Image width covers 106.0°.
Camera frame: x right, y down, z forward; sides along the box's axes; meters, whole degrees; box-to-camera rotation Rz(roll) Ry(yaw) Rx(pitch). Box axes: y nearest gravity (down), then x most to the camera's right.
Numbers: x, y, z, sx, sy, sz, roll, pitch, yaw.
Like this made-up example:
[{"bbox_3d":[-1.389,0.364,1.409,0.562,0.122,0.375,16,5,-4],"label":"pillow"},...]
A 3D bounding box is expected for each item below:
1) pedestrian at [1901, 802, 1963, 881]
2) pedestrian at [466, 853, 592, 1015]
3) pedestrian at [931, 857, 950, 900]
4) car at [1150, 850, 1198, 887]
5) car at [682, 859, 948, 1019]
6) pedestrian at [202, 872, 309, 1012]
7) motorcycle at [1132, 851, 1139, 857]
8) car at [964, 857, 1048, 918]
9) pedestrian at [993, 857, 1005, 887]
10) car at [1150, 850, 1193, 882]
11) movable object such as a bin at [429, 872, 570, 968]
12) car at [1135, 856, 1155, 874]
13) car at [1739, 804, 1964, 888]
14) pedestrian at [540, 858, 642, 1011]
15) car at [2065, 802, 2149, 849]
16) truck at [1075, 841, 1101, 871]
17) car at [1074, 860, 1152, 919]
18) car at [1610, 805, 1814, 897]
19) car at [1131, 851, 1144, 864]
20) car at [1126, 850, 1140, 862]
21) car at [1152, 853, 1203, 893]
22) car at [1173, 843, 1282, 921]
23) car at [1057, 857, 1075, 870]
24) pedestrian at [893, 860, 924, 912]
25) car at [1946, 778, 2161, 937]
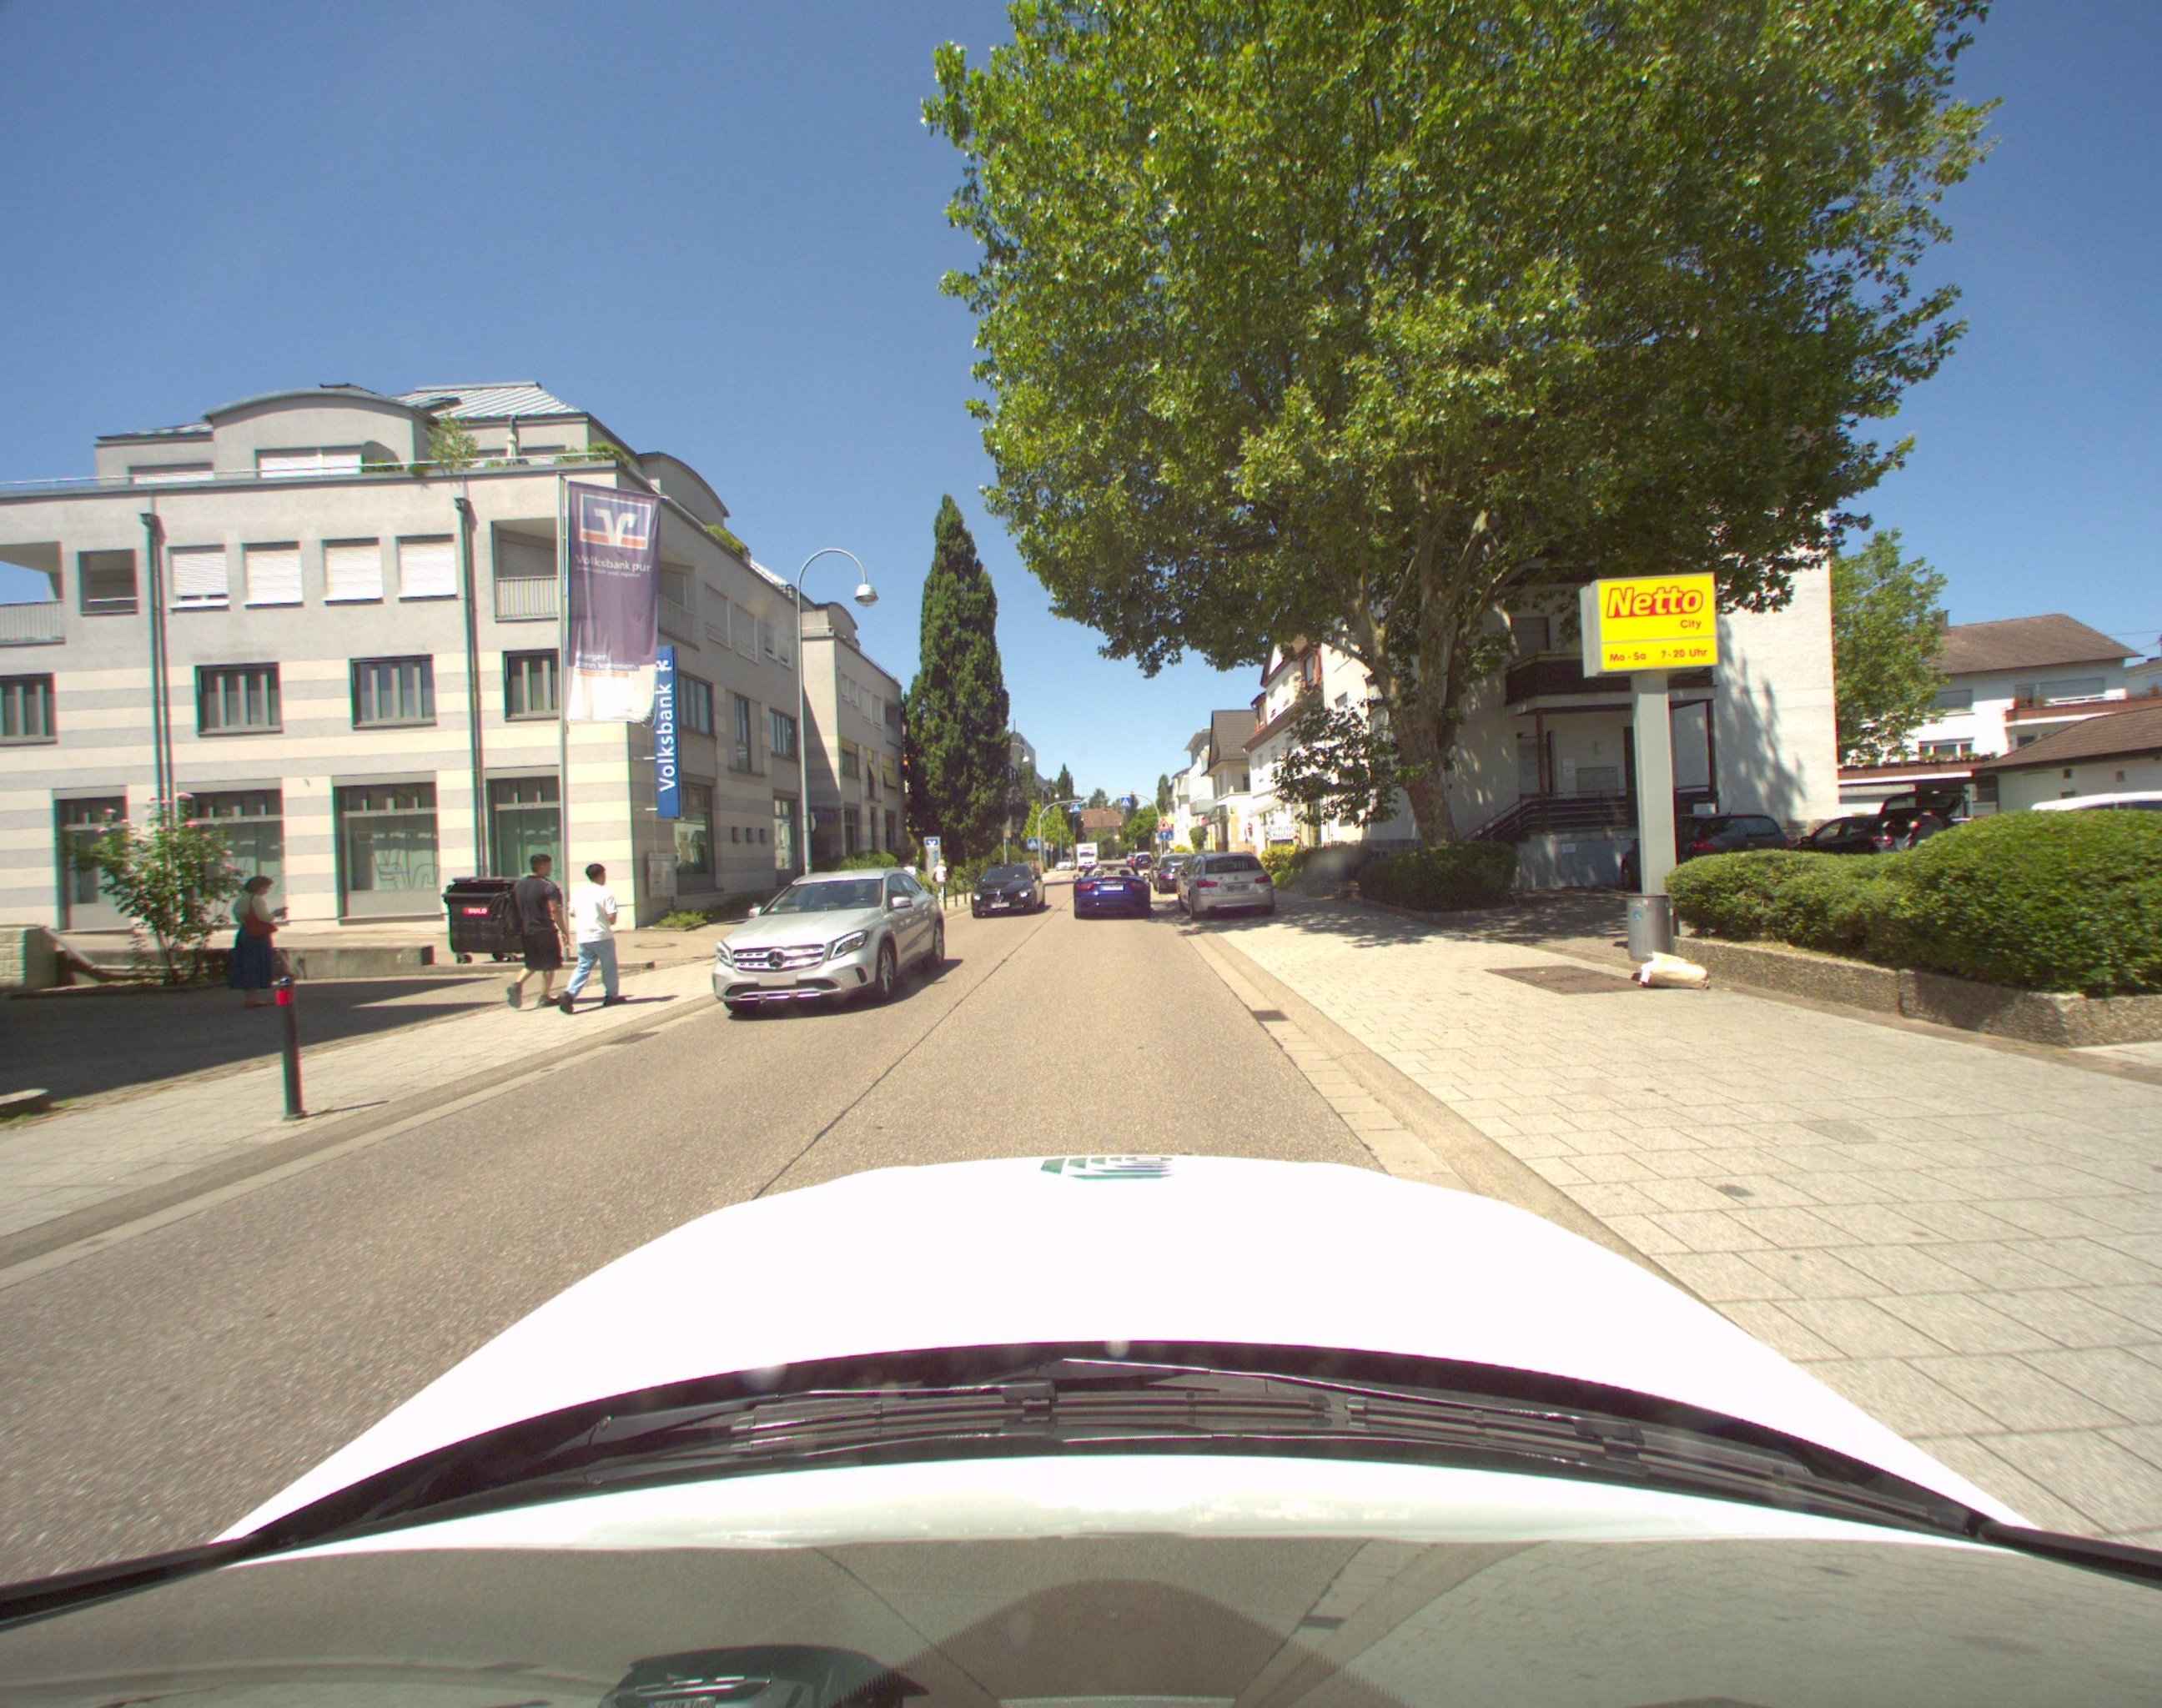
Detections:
[{"bbox_3d":[16.480,-0.242,15.780,0.599,1.468,0.517,-3,0,13],"label":"pedestrian"},{"bbox_3d":[-6.382,0.884,9.466,0.745,1.770,0.951,-2,0,1],"label":"pedestrian"},{"bbox_3d":[-5.529,0.957,32.121,0.534,1.685,0.709,-2,-1,2],"label":"pedestrian"},{"bbox_3d":[4.214,0.635,37.395,1.737,1.468,4.855,-5,0,2],"label":"car"},{"bbox_3d":[-3.032,0.875,10.277,1.822,1.511,4.033,-3,0,2],"label":"car"},{"bbox_3d":[-10.499,1.088,10.379,0.538,1.674,0.735,-3,0,1],"label":"pedestrian"},{"bbox_3d":[12.304,-0.017,184.408,0.692,1.107,1.801,-4,0,31],"label":"motorcycle"},{"bbox_3d":[-2.101,0.908,23.906,1.822,1.511,4.264,-4,0,2],"label":"car"},{"bbox_3d":[-4.639,1.025,46.028,0.534,1.685,0.709,-2,-1,2],"label":"pedestrian"},{"bbox_3d":[4.578,0.597,41.788,1.819,1.426,4.703,-4,0,2],"label":"car"},{"bbox_3d":[-9.644,1.065,13.590,1.381,1.488,1.295,0,0,2],"label":"movable object such as a bin"},{"bbox_3d":[5.993,1.037,76.708,1.698,1.556,4.751,-1,-1,3],"label":"car"},{"bbox_3d":[16.318,-0.159,17.540,1.824,1.536,3.770,-3,0,13],"label":"car"},{"bbox_3d":[-5.643,0.893,9.428,0.618,1.677,0.904,0,0,1],"label":"pedestrian"},{"bbox_3d":[36.970,-1.040,29.325,3.741,1.508,1.621,-3,0,-35],"label":"car"},{"bbox_3d":[0.772,0.208,88.535,2.410,2.983,6.261,-3,0,2],"label":"truck"},{"bbox_3d":[0.849,0.838,21.440,1.819,1.337,4.703,-1,0,2],"label":"car"},{"bbox_3d":[12.413,-0.060,16.383,1.673,1.543,4.114,-3,0,14],"label":"car"},{"bbox_3d":[7.240,0.415,104.592,1.596,1.440,3.857,-6,0,4],"label":"car"},{"bbox_3d":[7.754,0.306,121.384,1.836,1.619,4.431,-5,0,3],"label":"car"},{"bbox_3d":[3.696,0.708,31.640,1.552,1.340,4.175,-4,0,2],"label":"car"},{"bbox_3d":[3.365,0.597,19.587,1.822,1.511,4.762,-4,0,2],"label":"car"},{"bbox_3d":[-1.822,1.097,97.290,1.815,1.411,4.580,-2,0,3],"label":"car"},{"bbox_3d":[-5.688,1.033,26.946,0.746,1.645,0.849,-3,1,1],"label":"pedestrian"},{"bbox_3d":[11.063,-0.013,7.805,1.742,1.499,3.431,-3,0,-28],"label":"car"}]
